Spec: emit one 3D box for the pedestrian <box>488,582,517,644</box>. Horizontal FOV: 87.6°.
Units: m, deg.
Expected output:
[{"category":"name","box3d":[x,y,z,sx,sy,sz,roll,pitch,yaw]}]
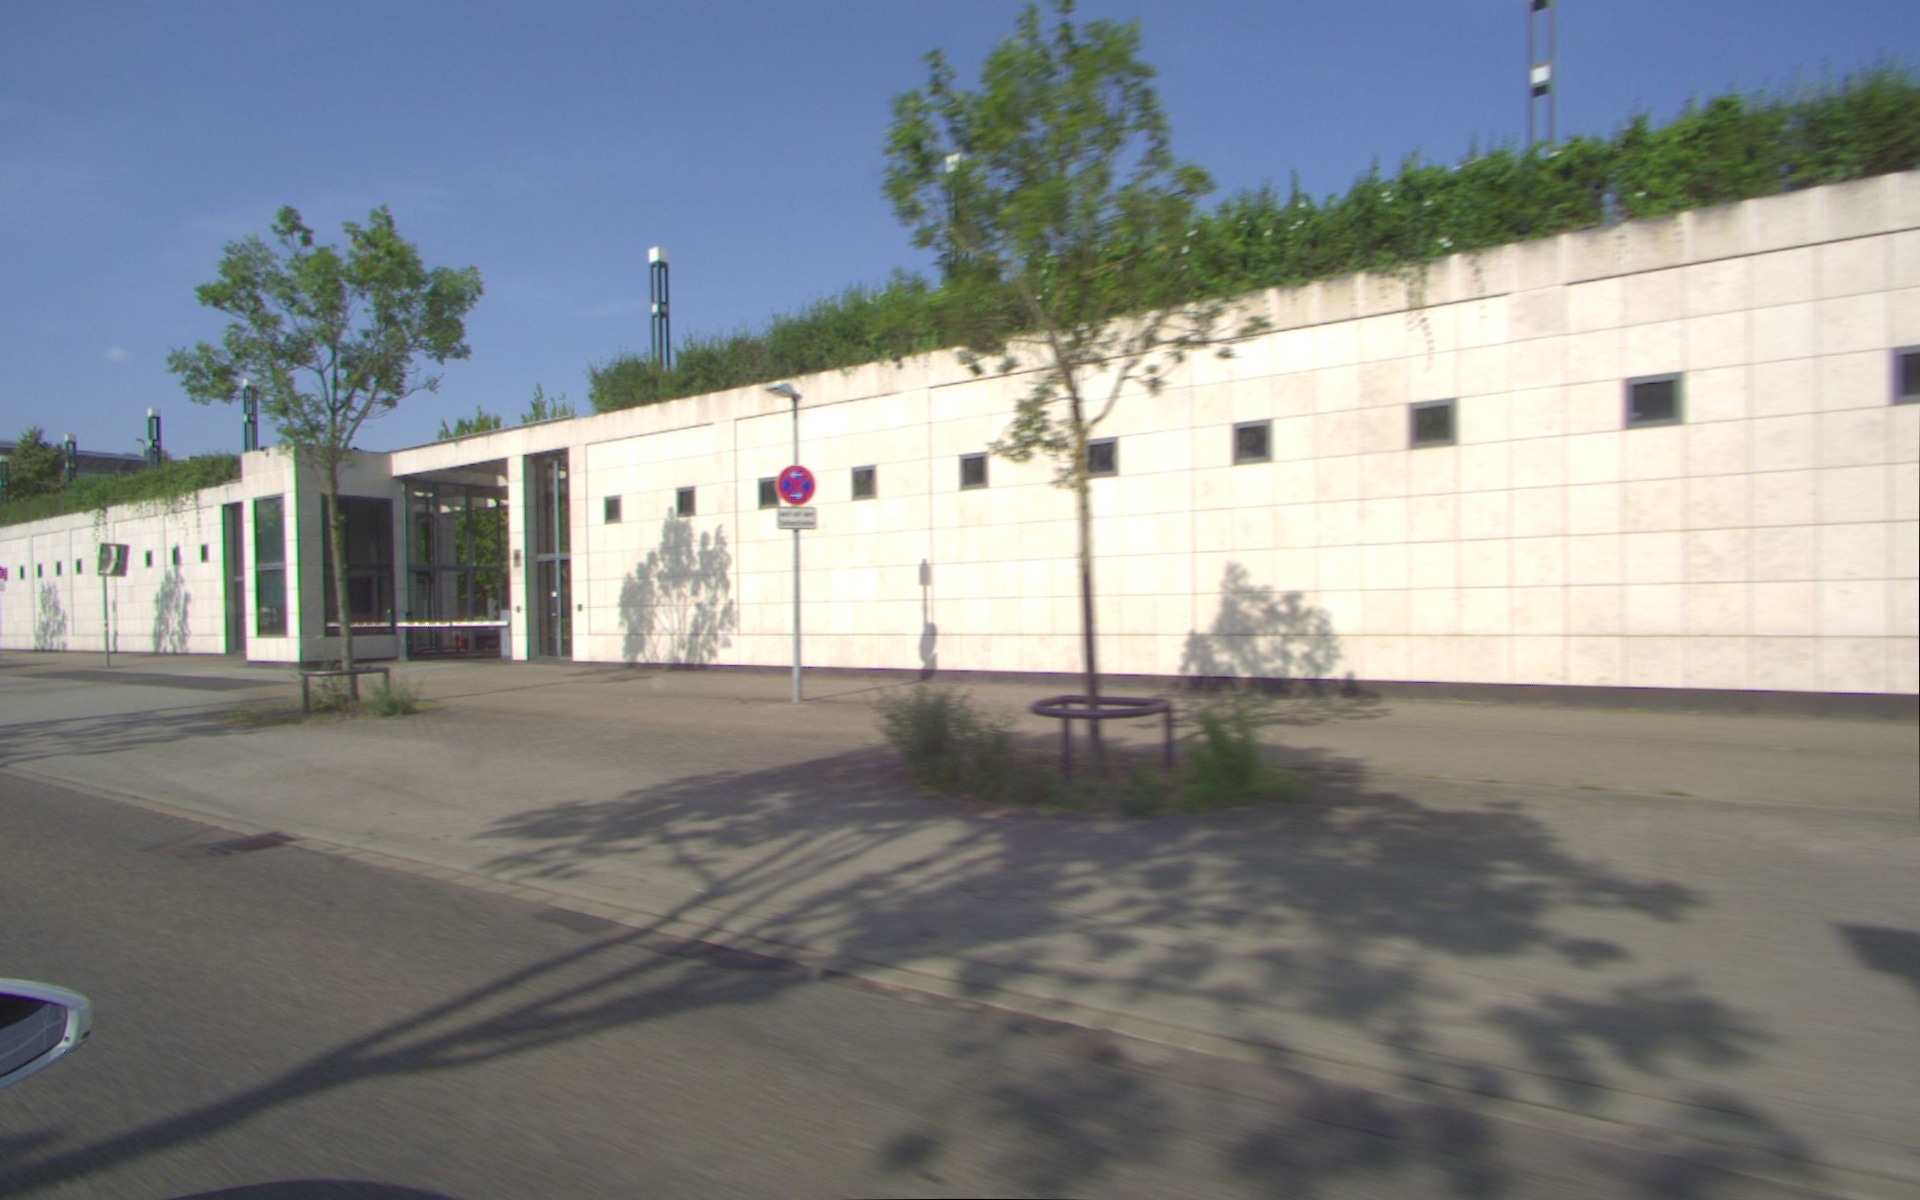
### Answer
[{"category":"pedestrian","box3d":[-14.305,0.420,31.321,0.583,1.896,0.557,-2,-1,3]}]
